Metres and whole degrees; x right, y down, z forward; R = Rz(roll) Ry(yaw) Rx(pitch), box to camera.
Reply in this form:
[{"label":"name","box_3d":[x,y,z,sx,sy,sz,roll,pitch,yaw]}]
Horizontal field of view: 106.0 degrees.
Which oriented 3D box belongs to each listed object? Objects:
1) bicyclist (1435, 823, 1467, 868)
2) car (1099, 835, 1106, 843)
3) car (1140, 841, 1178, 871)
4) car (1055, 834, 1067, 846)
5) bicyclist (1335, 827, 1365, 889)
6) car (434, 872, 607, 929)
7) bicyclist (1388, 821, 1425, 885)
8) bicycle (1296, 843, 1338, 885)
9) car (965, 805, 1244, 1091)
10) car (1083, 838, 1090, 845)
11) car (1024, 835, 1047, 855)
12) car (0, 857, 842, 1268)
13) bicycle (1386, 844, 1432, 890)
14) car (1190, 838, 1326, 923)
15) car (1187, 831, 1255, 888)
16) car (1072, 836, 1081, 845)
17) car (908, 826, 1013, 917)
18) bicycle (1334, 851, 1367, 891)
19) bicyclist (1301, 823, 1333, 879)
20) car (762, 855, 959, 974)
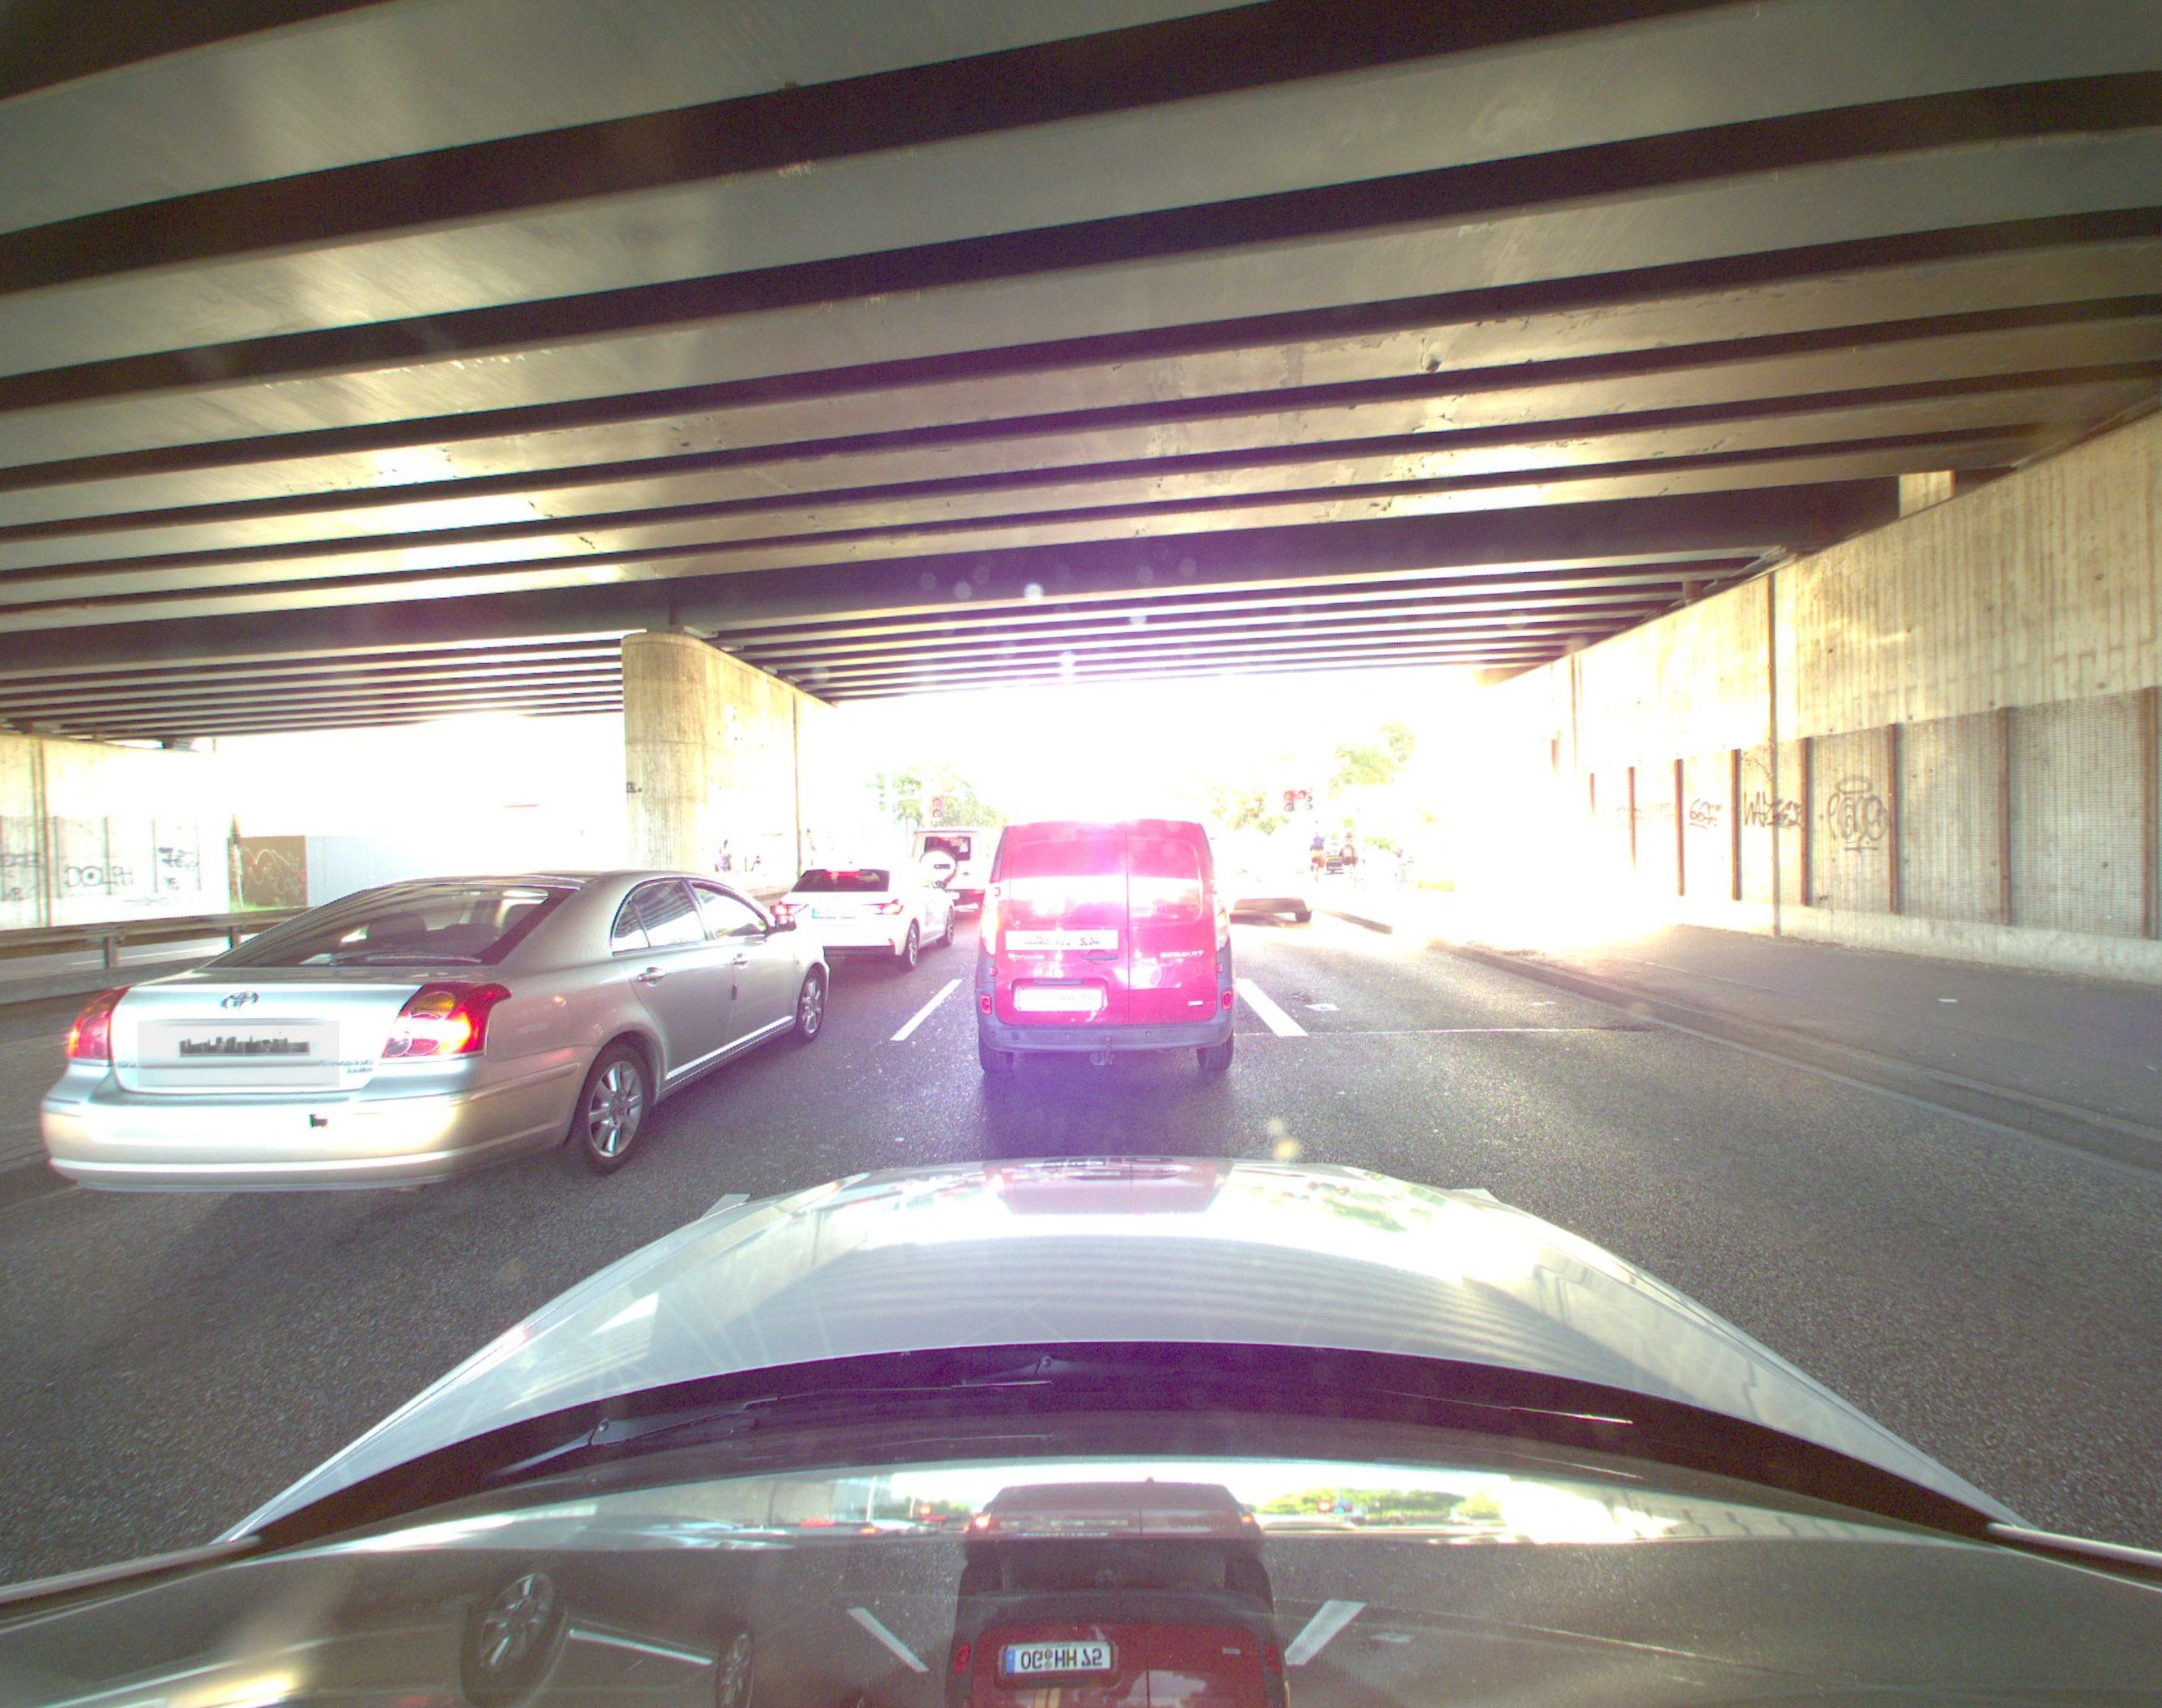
[{"label":"bicyclist","box_3d":[13.937,-0.320,30.710,0.890,1.655,0.741,-1,-1,-36]},{"label":"car","box_3d":[5.872,-4.028,220.883,1.986,2.014,4.001,0,0,2]},{"label":"car","box_3d":[4.013,0.093,42.589,1.739,1.456,3.718,0,0,2]},{"label":"car","box_3d":[-3.470,-2.402,140.624,1.741,2.014,3.846,0,0,2]},{"label":"bicyclist","box_3d":[7.134,0.112,21.631,0.673,1.629,0.646,0,-1,12]},{"label":"car","box_3d":[-14.379,1.139,21.212,1.678,1.175,4.000,-3,0,0]},{"label":"bicyclist","box_3d":[8.260,-0.022,20.683,0.666,1.561,0.737,-2,-1,7]},{"label":"bicycle","box_3d":[6.701,0.271,23.070,0.644,1.167,1.790,-1,0,33]},{"label":"car","box_3d":[0.209,0.580,7.050,1.712,1.764,4.002,0,0,2]},{"label":"car","box_3d":[1.523,-3.573,228.990,1.922,2.014,3.915,0,0,2]},{"label":"car","box_3d":[-4.560,-0.899,82.826,1.986,2.014,4.001,0,0,2]},{"label":"car","box_3d":[-3.053,0.767,5.158,1.690,1.455,4.399,0,0,1]},{"label":"bicycle","box_3d":[8.253,0.319,20.547,0.677,1.113,1.607,-2,-1,7]},{"label":"car","box_3d":[3.575,0.473,17.313,1.986,1.551,4.422,-1,1,1]},{"label":"car","box_3d":[5.045,0.139,28.881,1.883,1.836,4.855,0,1,15]},{"label":"car","box_3d":[-0.987,-3.036,181.512,1.986,2.014,4.001,0,0,2]},{"label":"car","box_3d":[-2.708,0.354,19.073,1.807,1.904,3.814,0,0,1]},{"label":"bicycle","box_3d":[7.134,0.431,21.631,0.672,1.024,1.534,0,0,12]},{"label":"bicyclist","box_3d":[6.691,-0.080,23.058,0.646,1.534,0.852,-1,0,32]},{"label":"car","box_3d":[-2.946,0.726,11.706,1.686,1.410,3.814,0,0,1]}]
